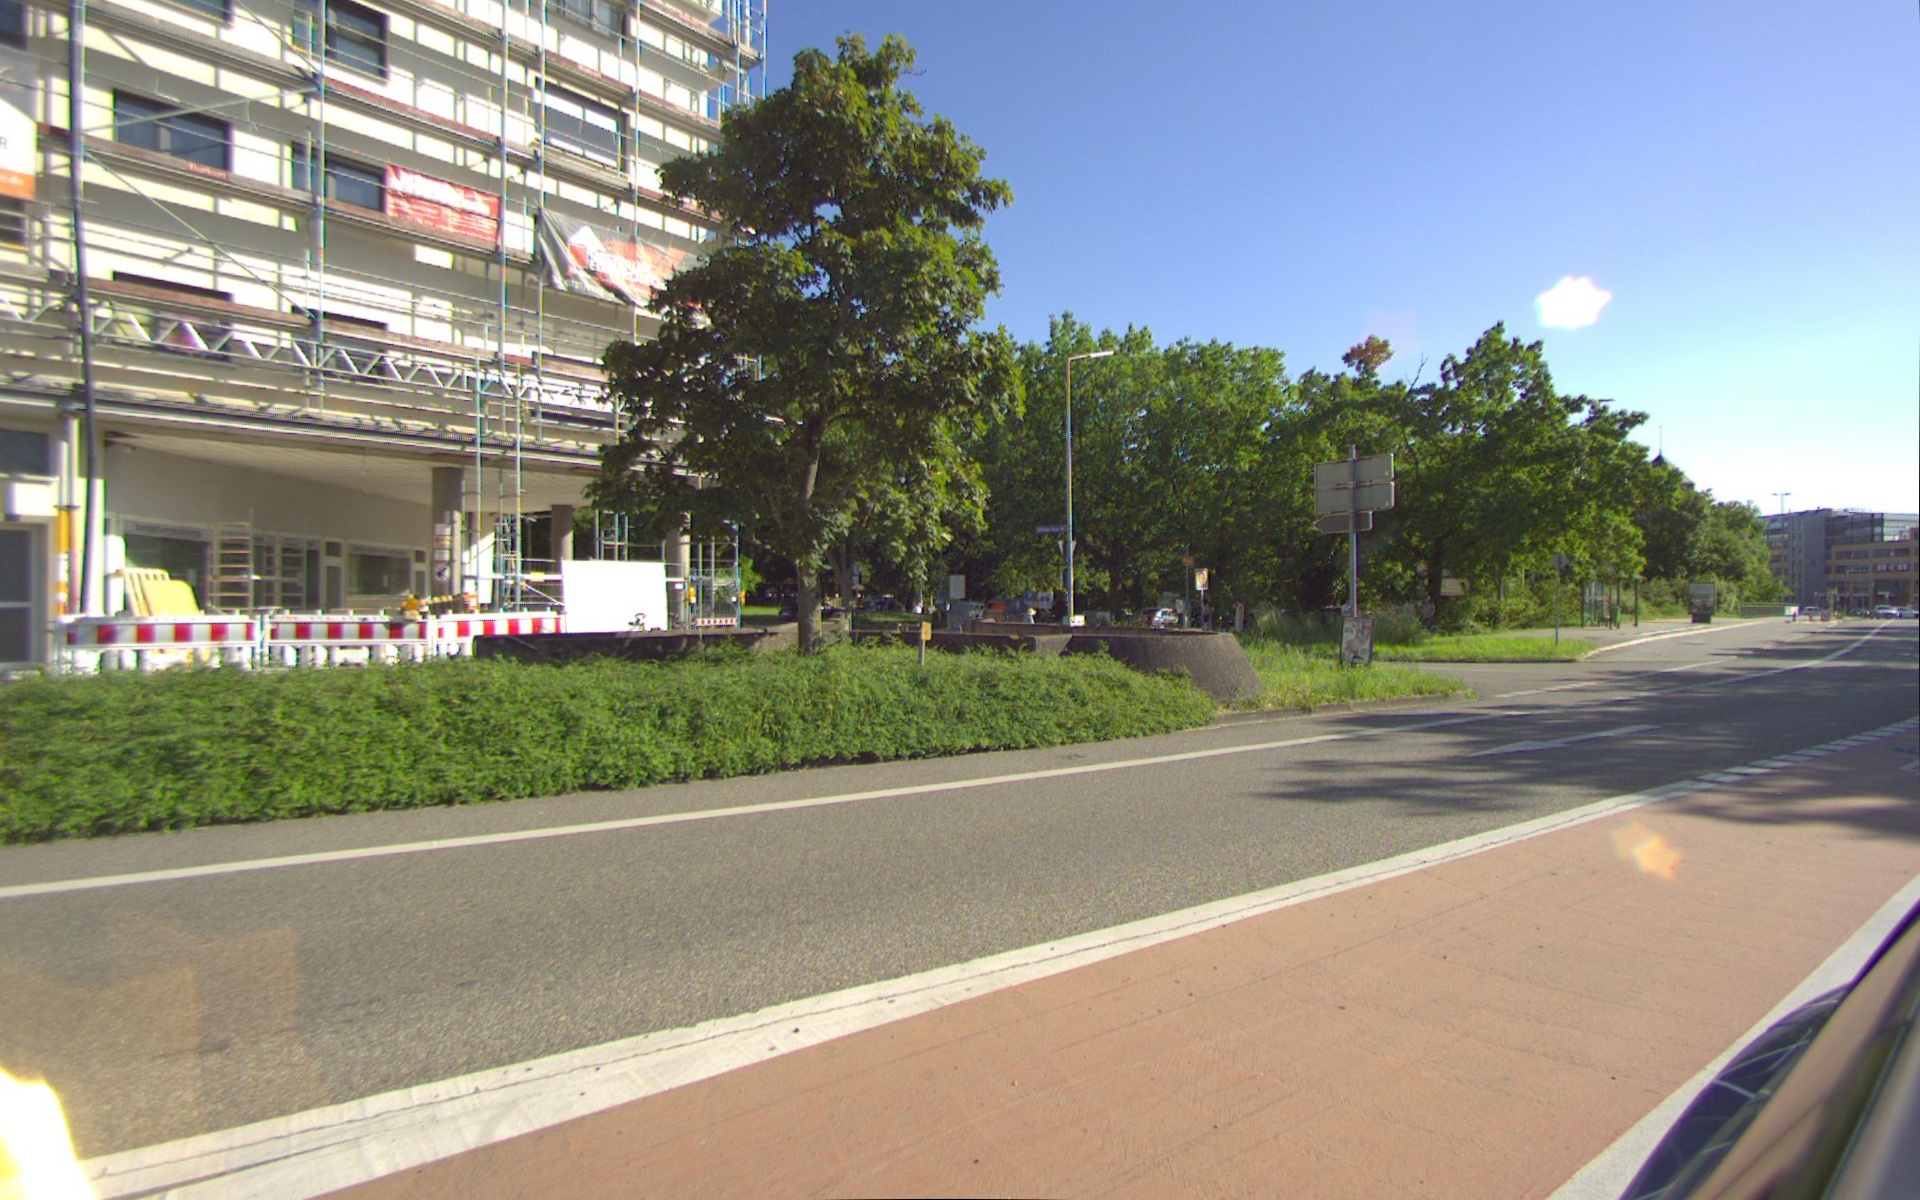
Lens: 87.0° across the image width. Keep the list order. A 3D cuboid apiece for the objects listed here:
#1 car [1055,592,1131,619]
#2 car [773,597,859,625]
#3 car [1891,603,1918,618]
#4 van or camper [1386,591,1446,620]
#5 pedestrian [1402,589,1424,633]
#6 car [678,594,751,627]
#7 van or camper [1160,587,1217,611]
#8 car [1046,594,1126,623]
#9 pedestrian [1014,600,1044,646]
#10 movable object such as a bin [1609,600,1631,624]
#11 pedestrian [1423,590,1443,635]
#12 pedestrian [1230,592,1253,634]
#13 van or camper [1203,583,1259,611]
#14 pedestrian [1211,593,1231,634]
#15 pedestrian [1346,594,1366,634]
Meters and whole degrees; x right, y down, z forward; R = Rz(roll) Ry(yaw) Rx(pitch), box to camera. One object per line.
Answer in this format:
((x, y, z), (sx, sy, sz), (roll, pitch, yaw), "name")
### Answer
((6.887, 0.256, 52.524), (3.633, 1.290, 1.601), (0, 2, 39), "car")
((-7.404, 0.552, 52.055), (3.928, 1.314, 1.998), (-1, 0, -38), "car")
((99.893, 1.078, 107.010), (1.994, 1.552, 3.936), (1, 0, 44), "car")
((30.876, 0.341, 68.459), (2.447, 1.937, 5.250), (0, 0, 40), "van or camper")
((17.398, 0.421, 38.864), (0.542, 1.655, 0.622), (0, 0, -45), "pedestrian")
((-11.850, 0.495, 48.683), (3.545, 1.522, 1.656), (0, 0, 40), "car")
((18.916, -0.068, 83.647), (2.447, 1.937, 5.250), (0, 0, 40), "van or camper")
((6.151, 0.402, 49.466), (3.570, 1.331, 1.601), (0, 2, 39), "car")
((2.332, 0.759, 34.068), (0.648, 1.516, 0.897), (0, 0, 36), "pedestrian")
((29.317, 0.525, 44.959), (0.726, 1.043, 0.569), (0, 0, 44), "movable object such as a bin")
((18.119, 0.466, 38.777), (0.602, 1.721, 0.403), (0, 0, 44), "pedestrian")
((11.236, 0.530, 40.363), (0.701, 1.640, 0.559), (-2, -1, 39), "pedestrian")
((21.798, -0.253, 81.251), (2.446, 2.186, 5.253), (0, 0, 38), "van or camper")
((10.550, 0.547, 40.934), (0.596, 1.640, 0.559), (-2, -1, 39), "pedestrian")
((15.251, 0.539, 38.983), (0.603, 1.537, 0.528), (0, 0, -43), "pedestrian")
